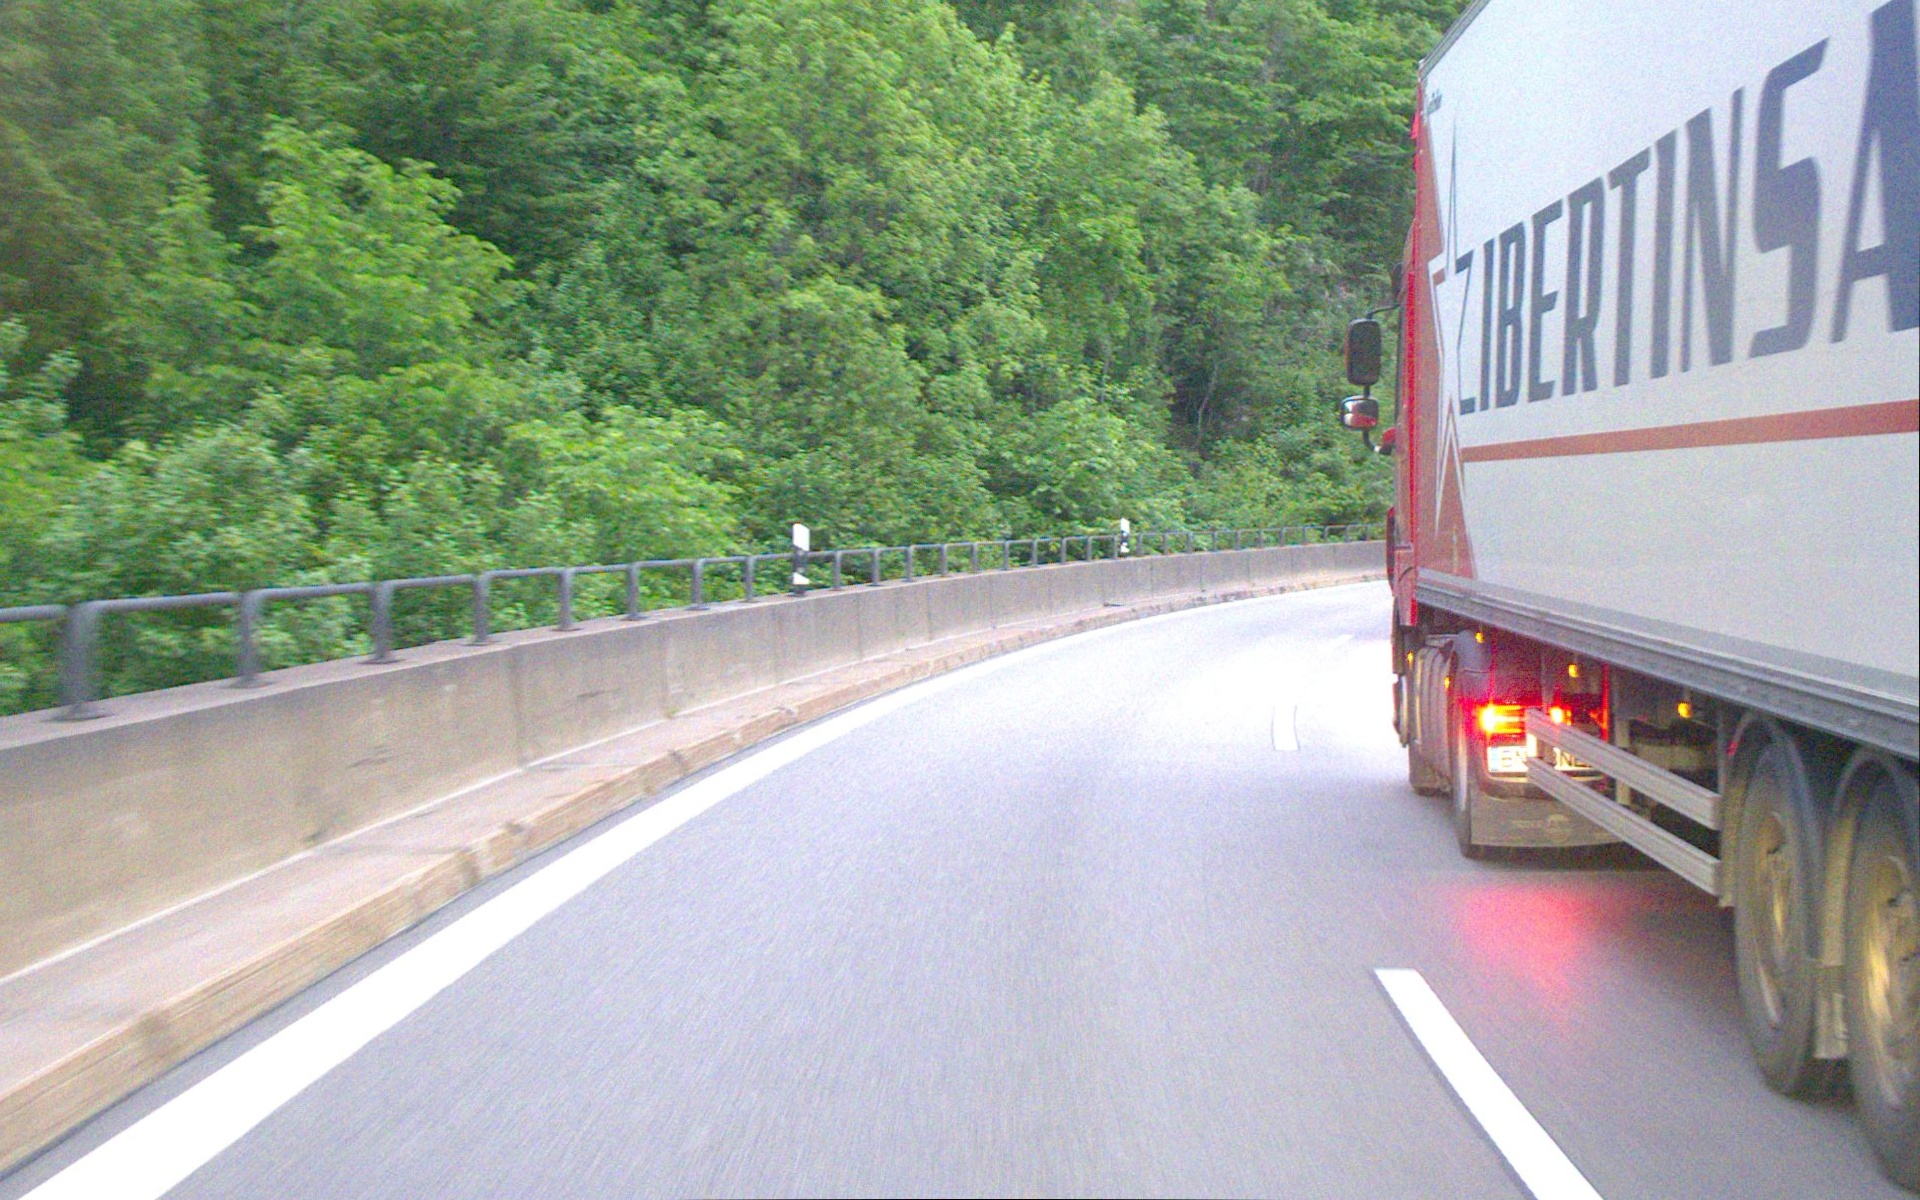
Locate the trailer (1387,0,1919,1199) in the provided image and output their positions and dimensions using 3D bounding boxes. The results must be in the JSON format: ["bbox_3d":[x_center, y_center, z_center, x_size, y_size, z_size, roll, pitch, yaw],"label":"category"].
[{"bbox_3d":[3.645,-0.697,11.721,3.097,3.956,14.218,-1,2,2],"label":"trailer"}]

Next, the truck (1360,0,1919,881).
[{"bbox_3d":[3.933,-0.862,18.337,3.069,4.130,6.446,0,0,2],"label":"truck"}]

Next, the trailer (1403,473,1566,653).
[{"bbox_3d":[7.354,-0.600,48.721,2.055,2.366,5.937,1,2,7],"label":"trailer"}]
